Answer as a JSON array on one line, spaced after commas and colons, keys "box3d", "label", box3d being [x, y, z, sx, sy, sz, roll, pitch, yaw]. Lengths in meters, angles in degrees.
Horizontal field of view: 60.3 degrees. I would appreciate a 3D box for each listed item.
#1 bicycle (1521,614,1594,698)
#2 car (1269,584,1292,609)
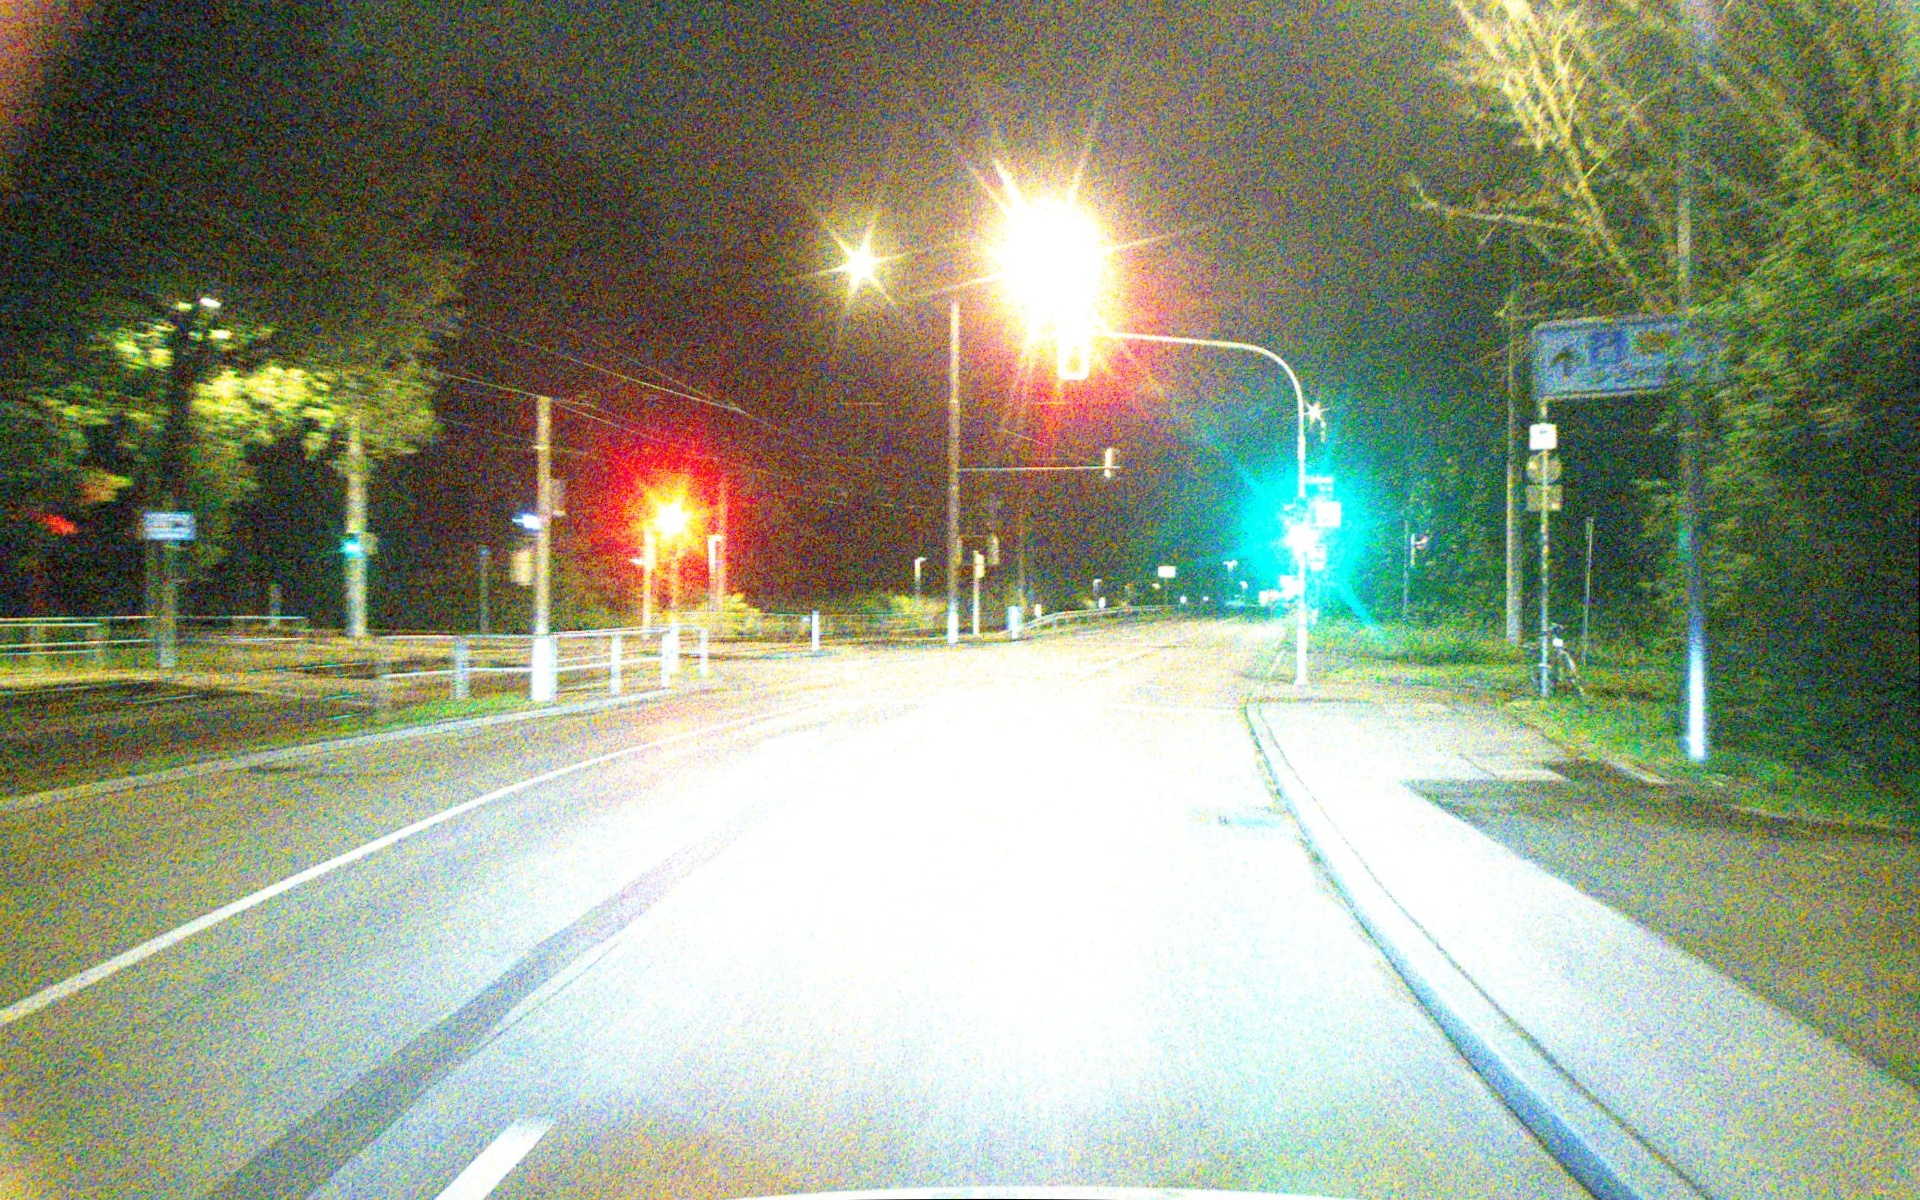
[{"box3d": [7.437, 0.716, 20.649, 0.289, 0.999, 1.945, 0, -3, 3], "label": "bicycle"}, {"box3d": [28.876, -0.336, 148.875, 1.951, 2.049, 4.003, 1, -2, 12], "label": "car"}]
